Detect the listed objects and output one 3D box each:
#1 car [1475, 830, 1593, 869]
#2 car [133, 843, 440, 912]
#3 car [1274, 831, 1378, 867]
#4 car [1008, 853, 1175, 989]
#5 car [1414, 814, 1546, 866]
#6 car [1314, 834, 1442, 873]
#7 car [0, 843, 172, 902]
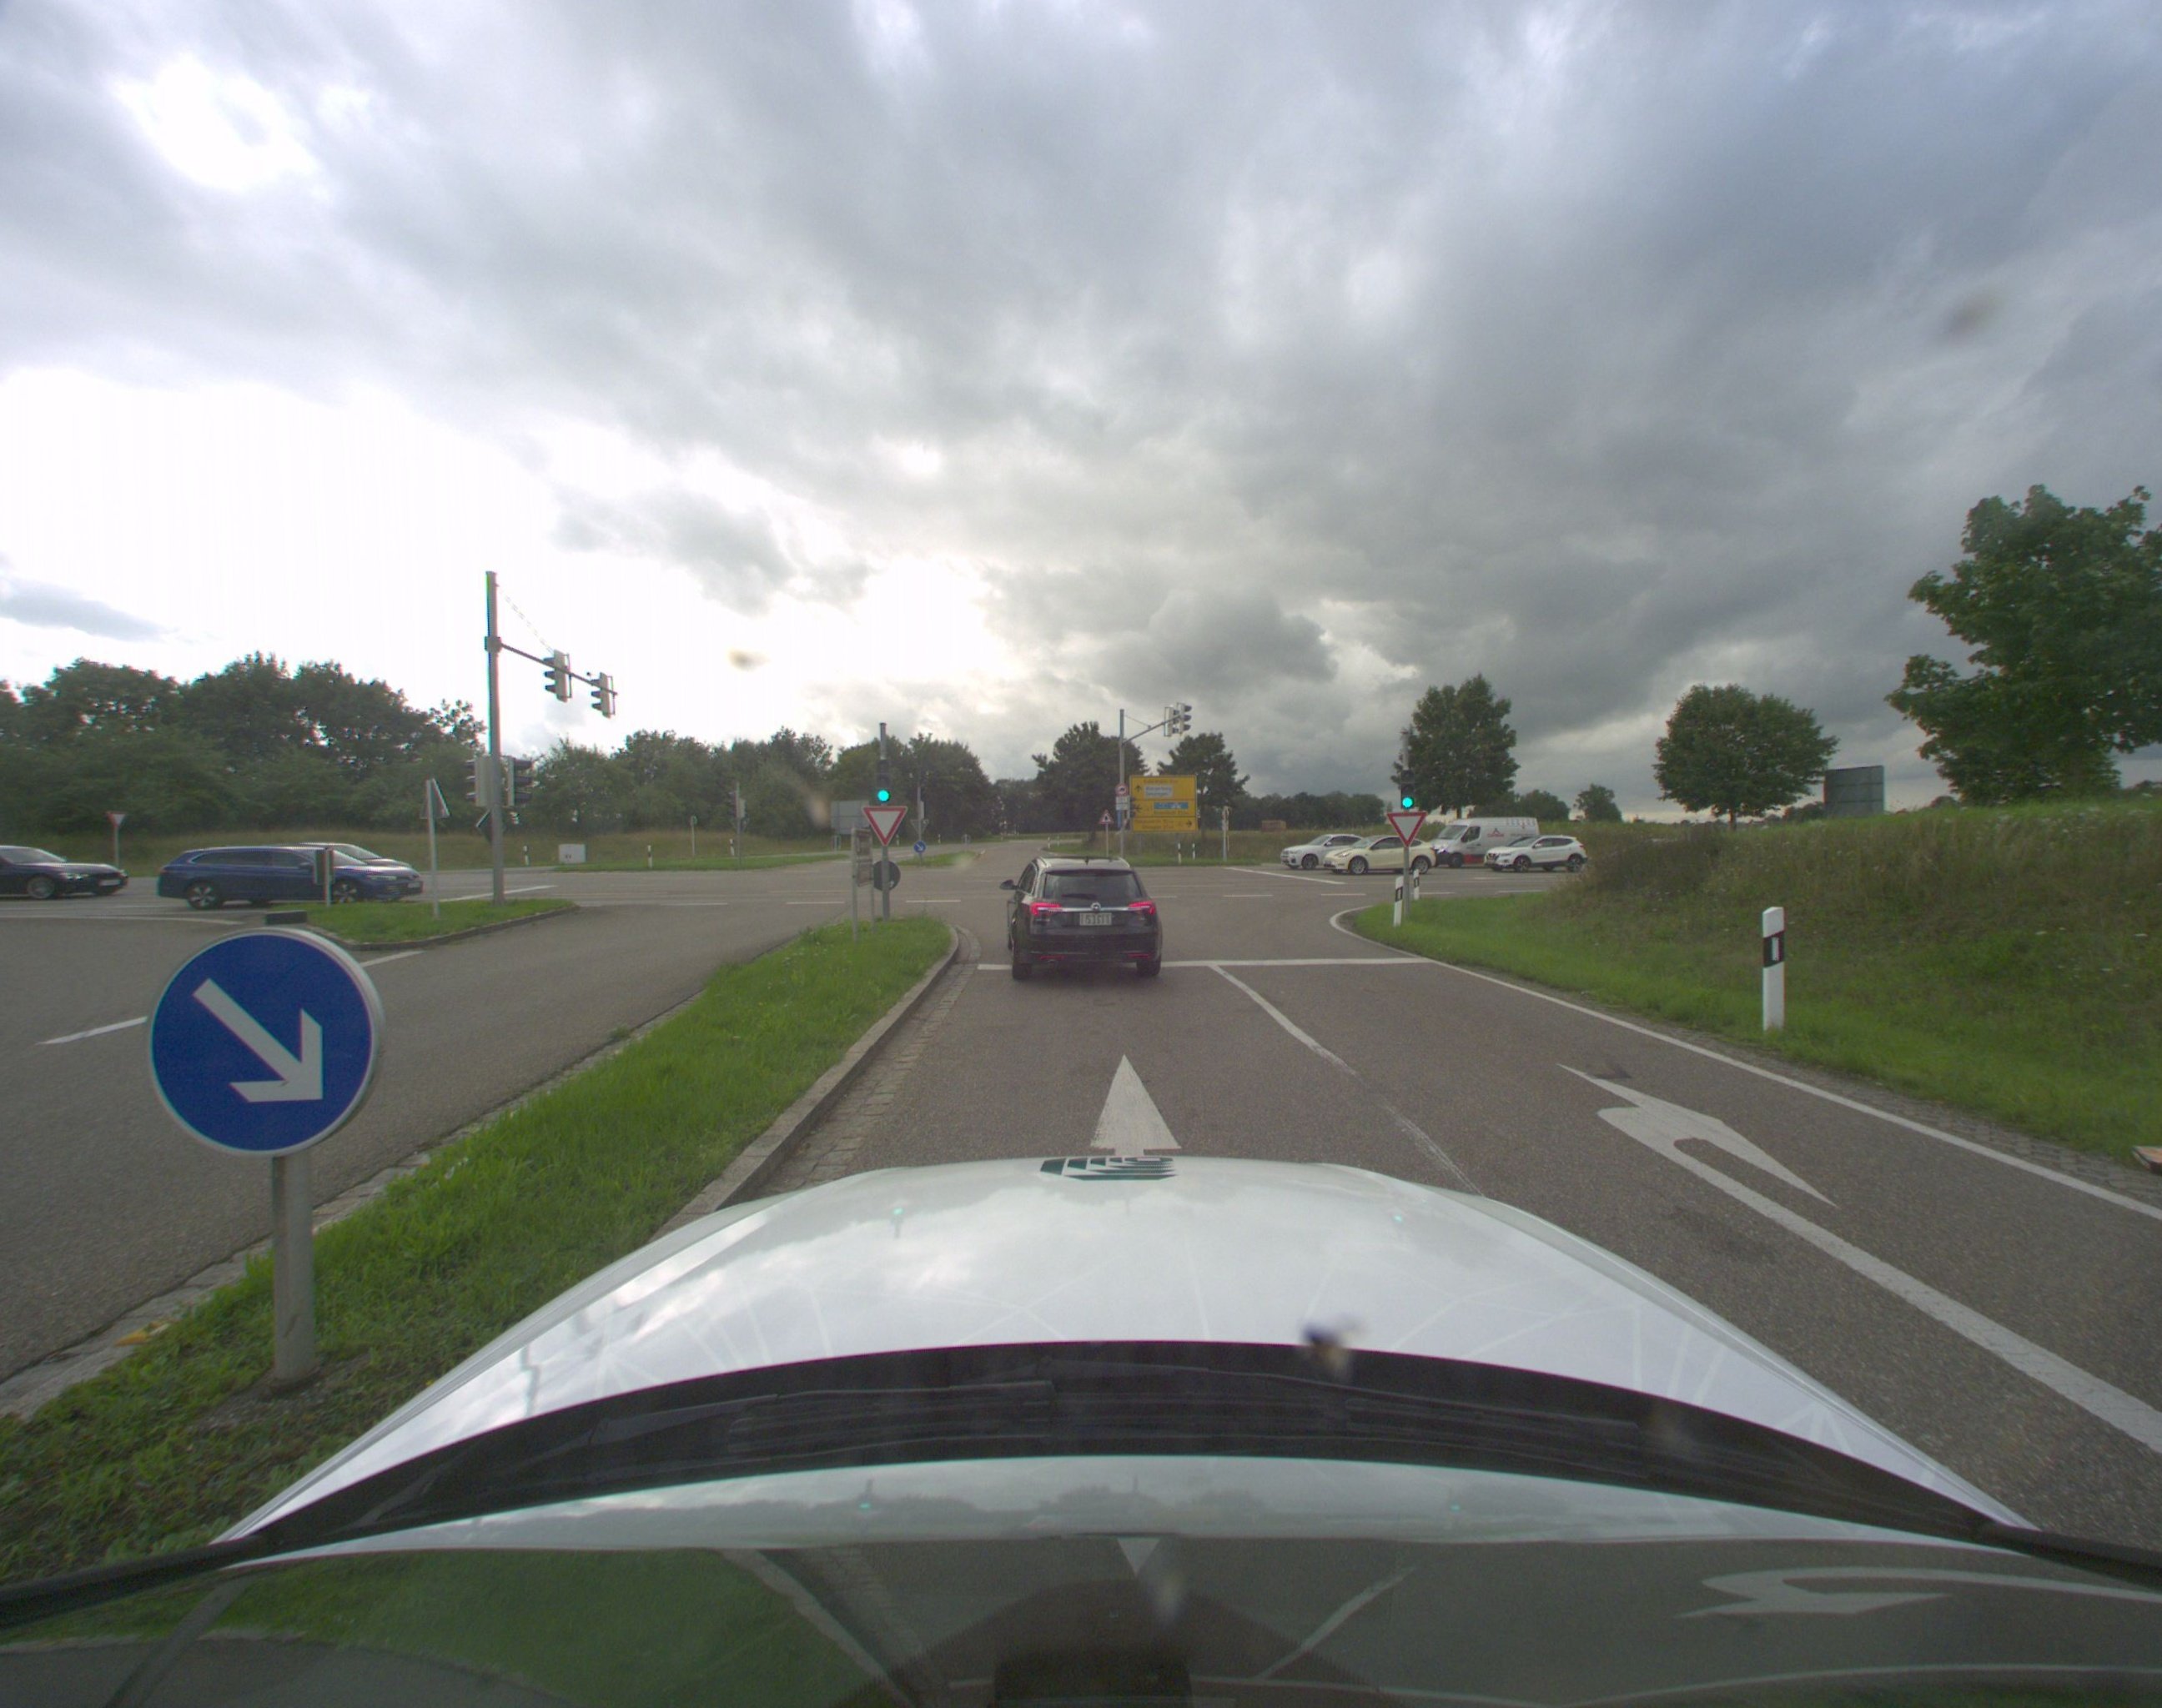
[{"bbox_3d":[19.942,-0.204,35.945,4.309,1.629,1.993,0,0,-10],"label":"car"},{"bbox_3d":[-19.548,0.512,20.353,5.115,1.534,2.043,-1,2,-13],"label":"car"},{"bbox_3d":[11.420,-0.246,38.081,4.262,1.629,1.993,0,0,-11],"label":"car"},{"bbox_3d":[-0.066,0.728,11.081,1.805,1.450,4.264,0,0,-6],"label":"car"},{"bbox_3d":[19.508,-0.677,39.975,5.494,2.441,2.390,0,0,-10],"label":"car"},{"bbox_3d":[12.461,-0.035,34.301,4.734,1.564,1.993,0,0,-11],"label":"car"},{"bbox_3d":[-28.737,0.477,22.249,4.869,1.483,2.047,0,3,-12],"label":"car"}]
